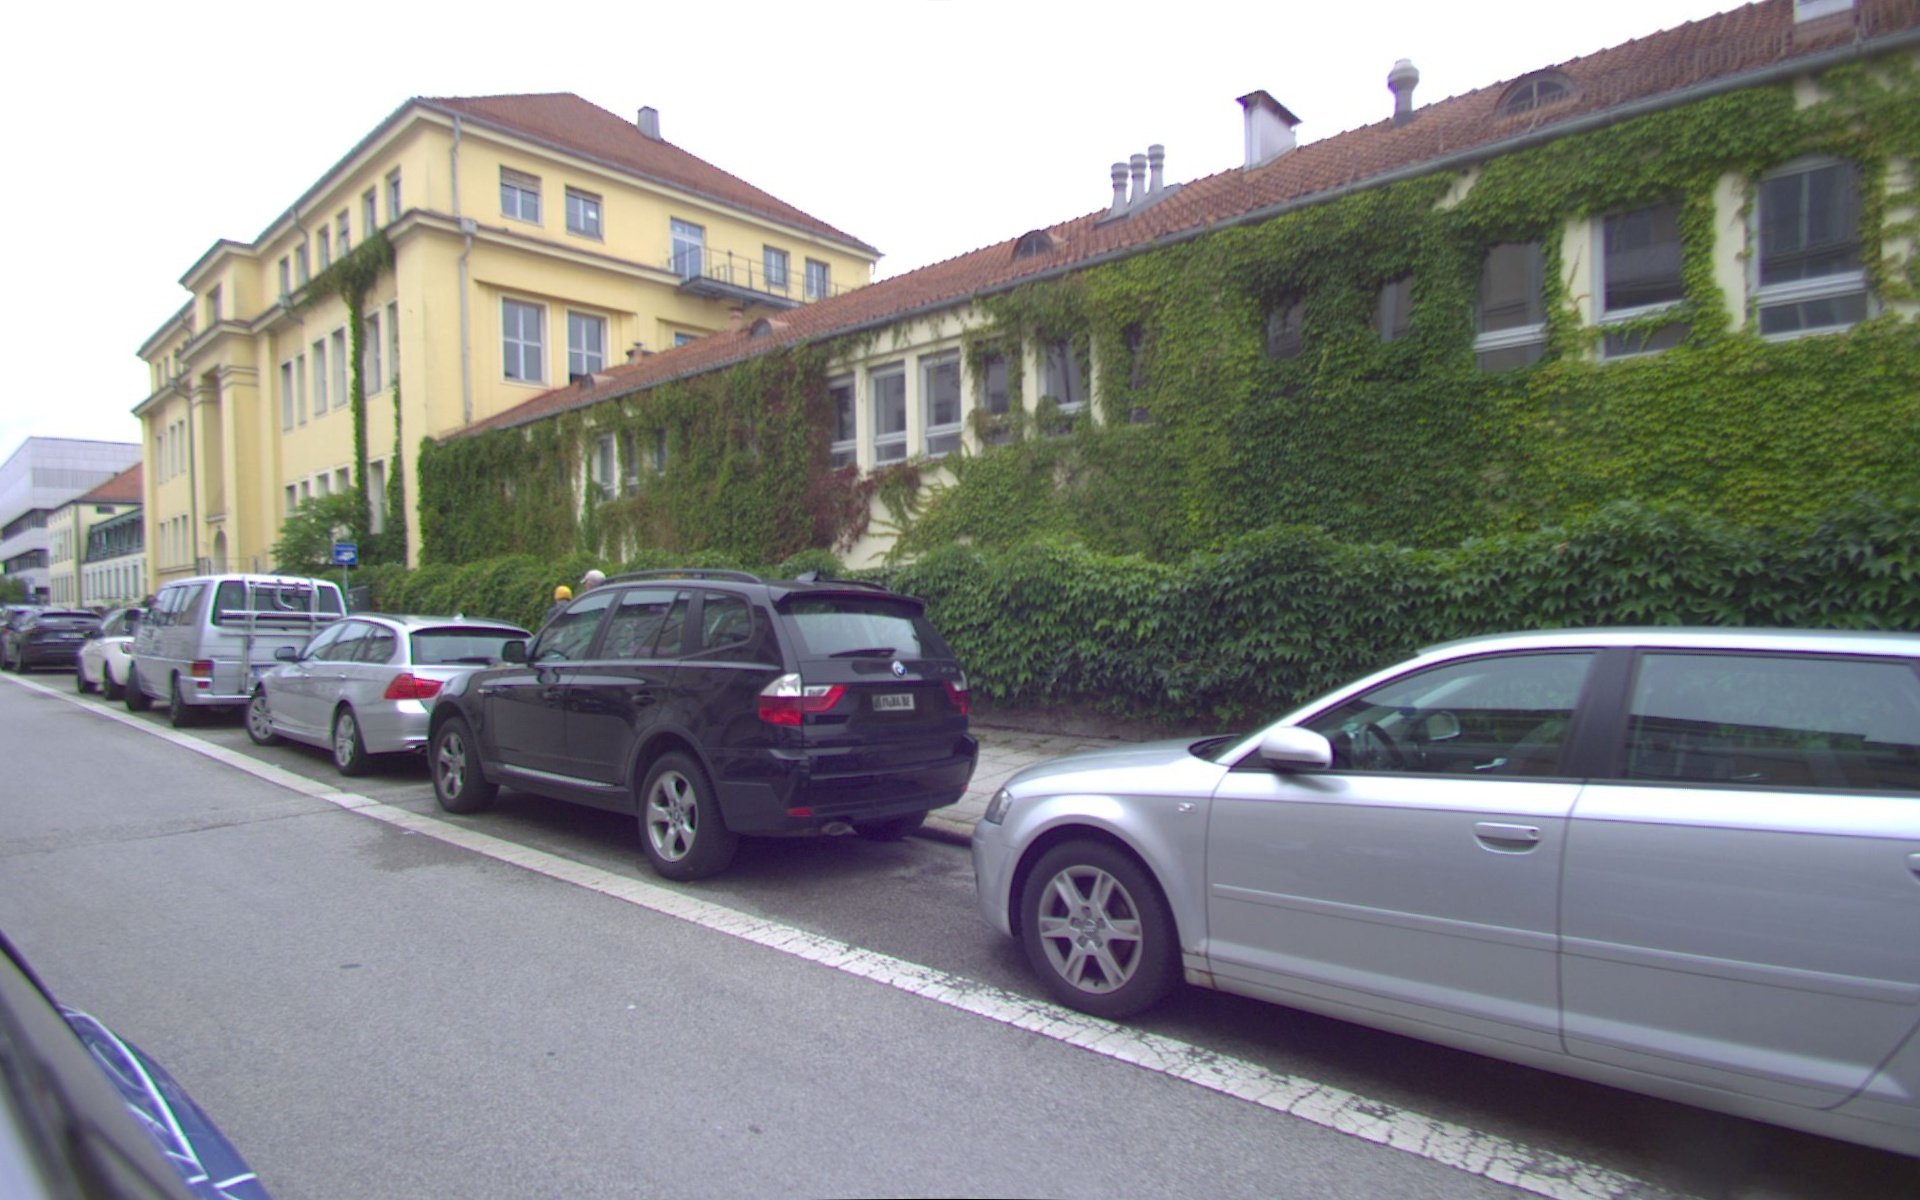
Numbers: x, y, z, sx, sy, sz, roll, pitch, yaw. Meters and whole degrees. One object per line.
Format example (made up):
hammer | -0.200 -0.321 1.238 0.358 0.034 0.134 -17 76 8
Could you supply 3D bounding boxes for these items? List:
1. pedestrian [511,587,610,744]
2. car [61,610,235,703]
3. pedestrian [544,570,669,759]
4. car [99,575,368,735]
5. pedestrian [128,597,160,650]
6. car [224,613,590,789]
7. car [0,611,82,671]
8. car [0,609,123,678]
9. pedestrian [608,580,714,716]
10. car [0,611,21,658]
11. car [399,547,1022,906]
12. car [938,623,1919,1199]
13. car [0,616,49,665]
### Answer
pedestrian | -4.470 0.699 11.318 0.871 1.665 0.675 -1 0 40
car | -13.898 0.930 17.272 3.556 1.420 1.649 -1 -3 40
pedestrian | -3.522 0.607 10.077 0.872 1.768 0.834 -1 0 42
car | -10.043 0.722 13.834 4.879 1.812 1.873 -1 -4 42
pedestrian | -28.768 0.831 35.680 0.782 1.838 0.766 -1 0 45
car | -5.721 0.880 10.206 4.489 1.388 1.784 -1 -4 42
car | -25.375 1.085 27.444 4.271 1.514 1.751 -1 -3 41
car | -21.455 1.024 23.996 4.217 1.492 1.699 -1 -4 40
pedestrian | -3.498 0.536 11.846 0.872 1.506 0.834 -1 0 42
car | -35.538 1.227 36.517 4.295 1.653 1.764 -1 -4 39
car | -1.891 0.635 6.685 4.488 1.619 1.684 -1 -3 41
car | 1.993 0.800 3.308 3.997 1.376 1.689 -2 -4 40
car | -29.600 1.239 31.054 4.597 1.419 1.755 -1 -4 40
